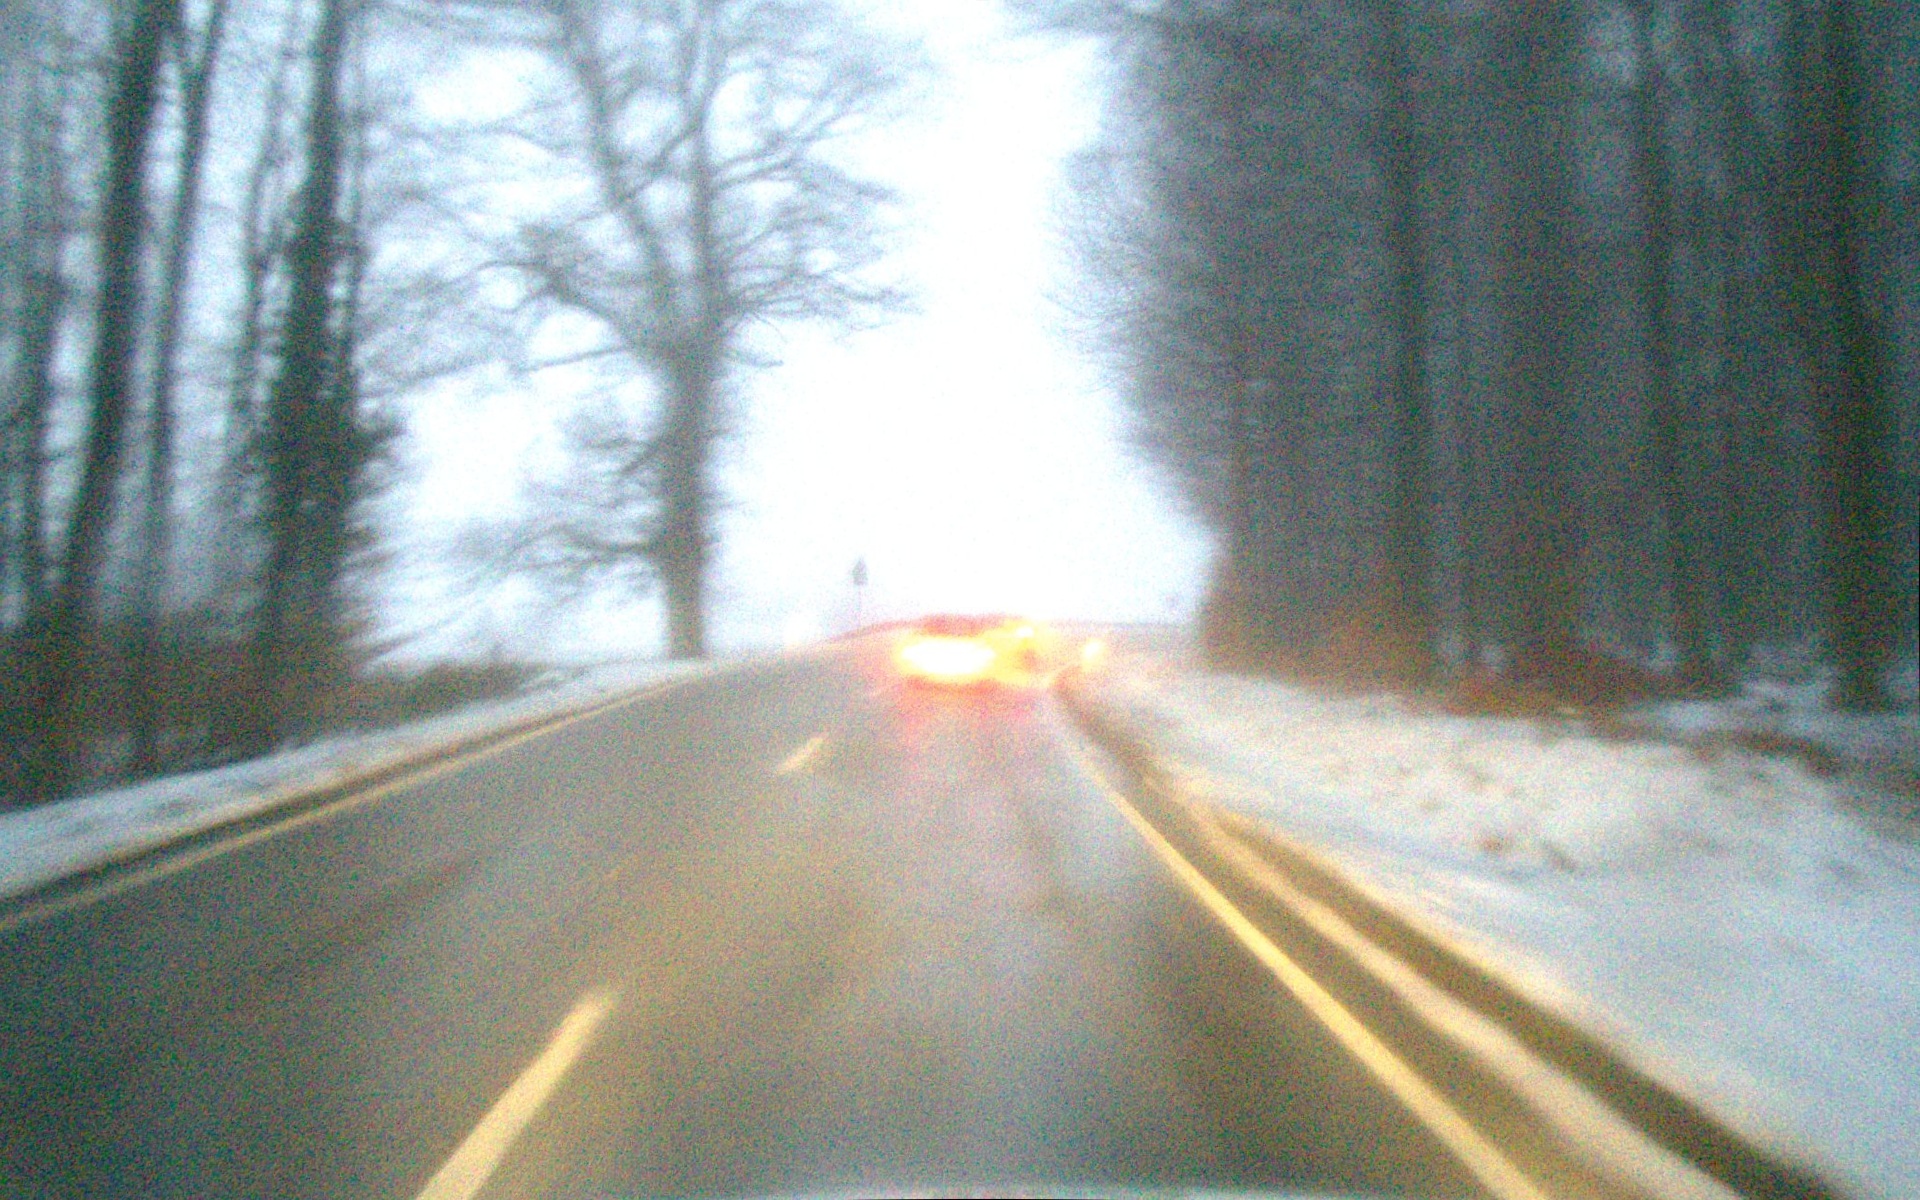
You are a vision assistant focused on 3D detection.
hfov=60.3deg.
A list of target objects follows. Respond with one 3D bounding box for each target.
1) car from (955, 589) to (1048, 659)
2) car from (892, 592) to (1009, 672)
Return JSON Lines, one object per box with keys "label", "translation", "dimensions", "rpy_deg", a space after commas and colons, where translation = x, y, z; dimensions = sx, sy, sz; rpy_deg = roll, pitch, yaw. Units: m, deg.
{"label": "car", "translation": [1.120, 0.641, 47.094], "dimensions": [1.956, 1.814, 3.993], "rpy_deg": [2, 0, -8]}
{"label": "car", "translation": [-0.253, 0.572, 32.188], "dimensions": [1.908, 1.405, 3.995], "rpy_deg": [1, 1, -6]}
